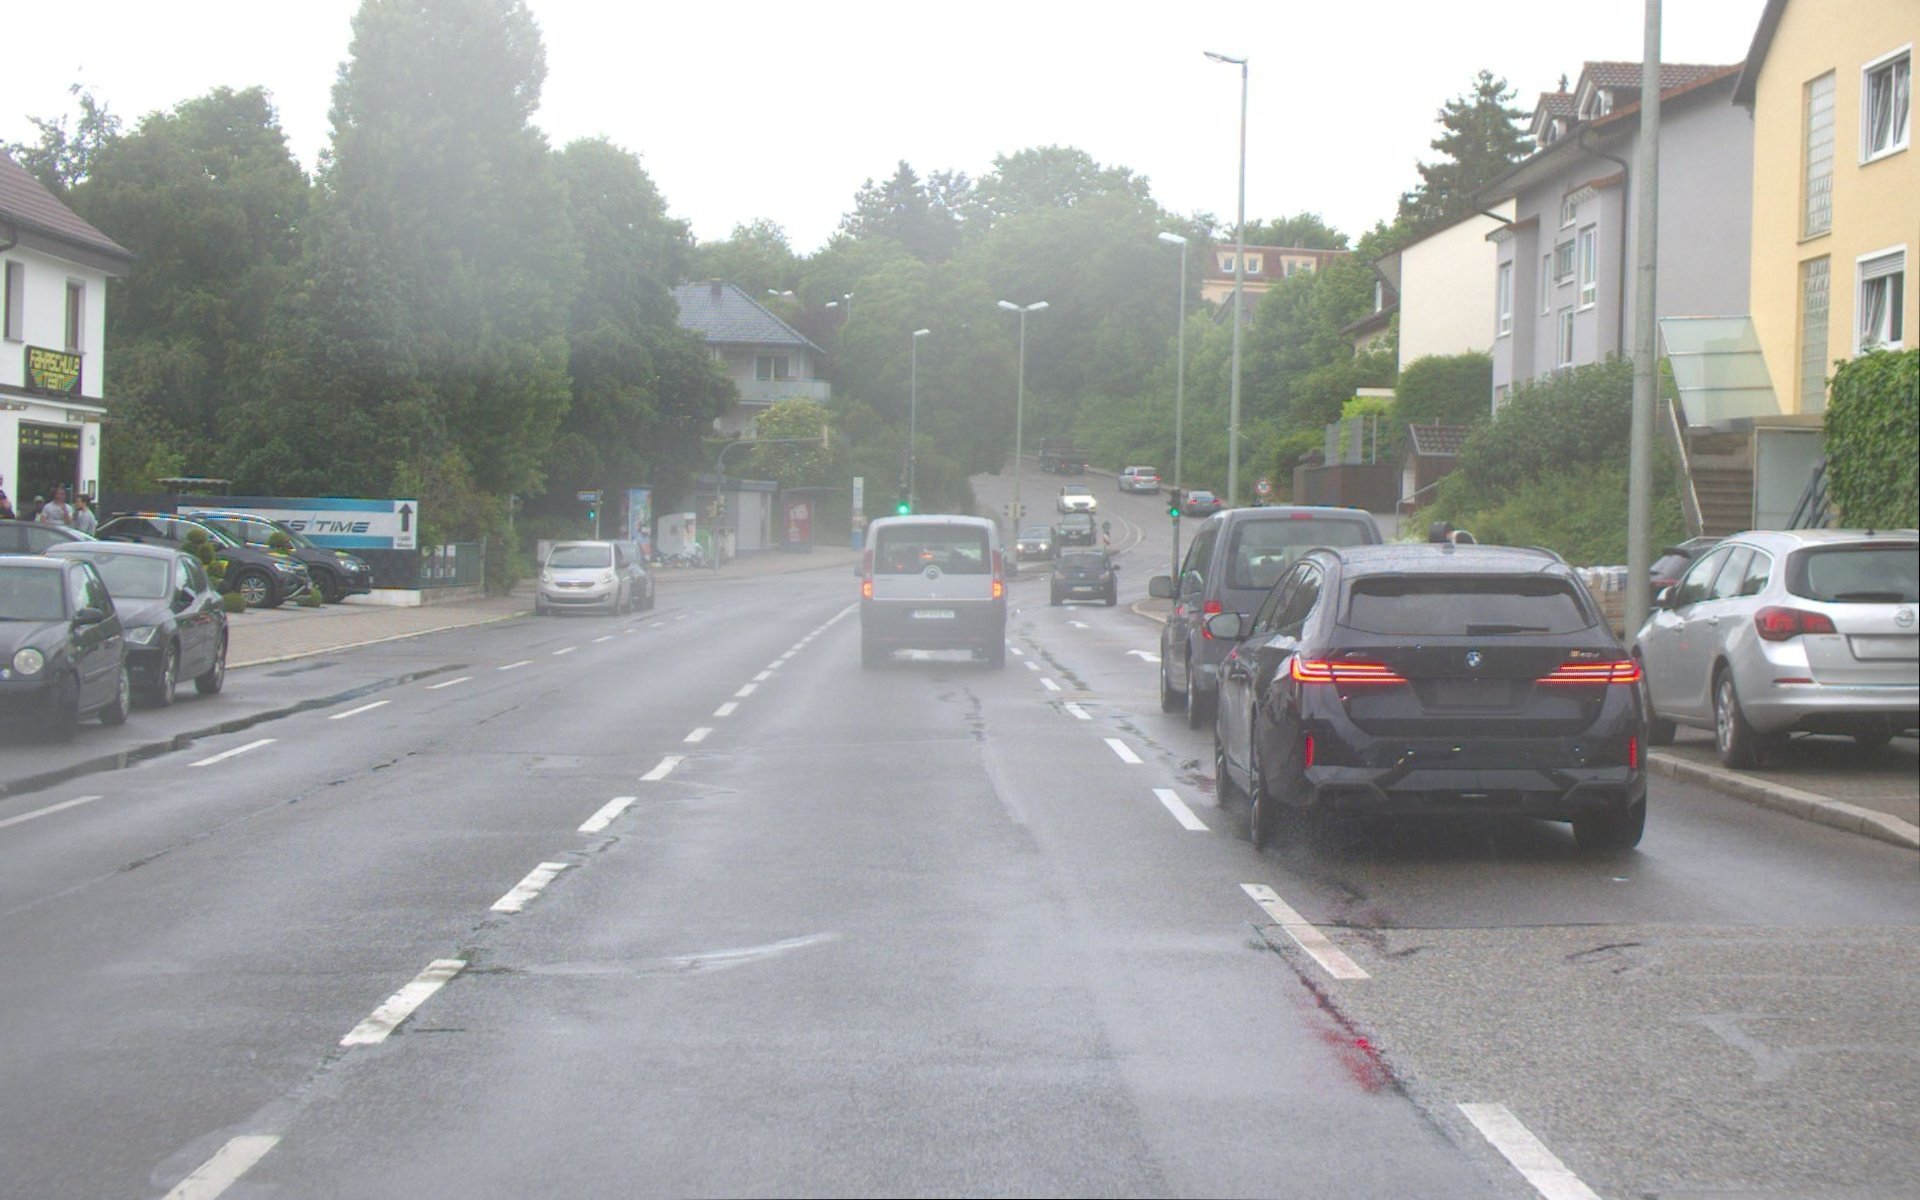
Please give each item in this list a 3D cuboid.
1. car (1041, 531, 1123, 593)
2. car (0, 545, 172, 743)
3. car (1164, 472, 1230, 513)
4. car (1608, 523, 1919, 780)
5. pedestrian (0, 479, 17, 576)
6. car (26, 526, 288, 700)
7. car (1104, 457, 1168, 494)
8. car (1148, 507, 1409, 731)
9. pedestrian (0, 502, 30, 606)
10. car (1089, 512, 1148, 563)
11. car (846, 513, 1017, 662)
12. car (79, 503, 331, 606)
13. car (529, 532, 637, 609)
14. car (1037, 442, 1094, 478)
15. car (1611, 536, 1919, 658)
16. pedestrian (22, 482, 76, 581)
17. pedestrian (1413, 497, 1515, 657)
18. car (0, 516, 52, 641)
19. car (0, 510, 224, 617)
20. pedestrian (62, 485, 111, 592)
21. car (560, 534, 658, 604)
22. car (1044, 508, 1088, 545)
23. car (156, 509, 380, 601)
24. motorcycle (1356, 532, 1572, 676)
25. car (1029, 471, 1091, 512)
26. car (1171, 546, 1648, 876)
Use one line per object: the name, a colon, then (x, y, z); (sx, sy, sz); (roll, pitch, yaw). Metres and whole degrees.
car: (3.239, -1.036, 92.256); (1.993, 1.573, 4.000); (0, 1, -1)
car: (-7.357, 0.292, 27.180); (1.551, 1.426, 4.015); (1, 1, -4)
car: (13.230, -6.029, 192.140); (2.521, 2.006, 5.610); (1, 4, -8)
car: (5.576, 0.282, 22.596); (1.700, 1.505, 4.535); (1, 1, -1)
pedestrian: (-16.667, -1.255, 59.090); (0.600, 1.660, 0.650); (4, 1, 5)
car: (-7.587, 0.083, 32.829); (1.757, 1.527, 4.209); (1, 1, -4)
car: (10.803, -7.659, 211.441); (2.521, 2.006, 5.611); (1, 4, -12)
car: (2.664, 0.123, 29.549); (1.838, 1.761, 4.000); (1, 1, 0)
pedestrian: (-15.714, -0.762, 56.372); (0.600, 1.660, 0.650); (4, 1, 5)
car: (7.290, -2.895, 158.746); (2.522, 2.006, 5.609); (1, 4, 1)
car: (-0.338, -0.179, 42.672); (1.993, 1.731, 4.000); (1, 1, 0)
car: (-13.720, -0.825, 62.635); (4.072, 1.511, 1.856); (5, 1, 0)
car: (-8.065, -0.640, 73.825); (1.884, 1.579, 4.000); (1, 1, 0)
car: (6.961, -9.247, 227.369); (2.521, 2.006, 5.611); (1, 5, -11)
car: (10.107, -0.049, 41.820); (3.986, 1.428, 1.869); (0, 1, -2)
pedestrian: (-15.578, -1.171, 58.813); (0.600, 1.660, 0.650); (4, 1, 8)
pedestrian: (5.255, -0.245, 35.840); (0.831, 1.644, 0.621); (1, 1, 34)
car: (-13.506, -0.350, 42.577); (3.987, 1.511, 1.856); (2, 1, 0)
car: (-13.538, -0.584, 52.673); (4.072, 1.511, 1.856); (2, 1, 0)
pedestrian: (-14.827, -1.046, 58.371); (0.600, 1.784, 0.650); (4, 1, -6)
car: (-8.191, -0.735, 80.509); (1.884, 1.579, 4.000); (1, 1, 0)
car: (5.152, -3.574, 167.505); (1.993, 1.766, 4.000); (0, 1, 0)
car: (-13.997, -0.921, 69.686); (4.072, 1.511, 1.856); (5, 1, 0)
motorcycle: (5.252, 0.025, 35.862); (2.086, 1.445, 0.757); (1, 1, 34)
car: (5.656, -6.157, 195.252); (2.521, 2.006, 5.611); (1, 4, -8)
car: (2.184, 0.481, 17.768); (1.993, 1.478, 4.000); (1, 1, 1)
